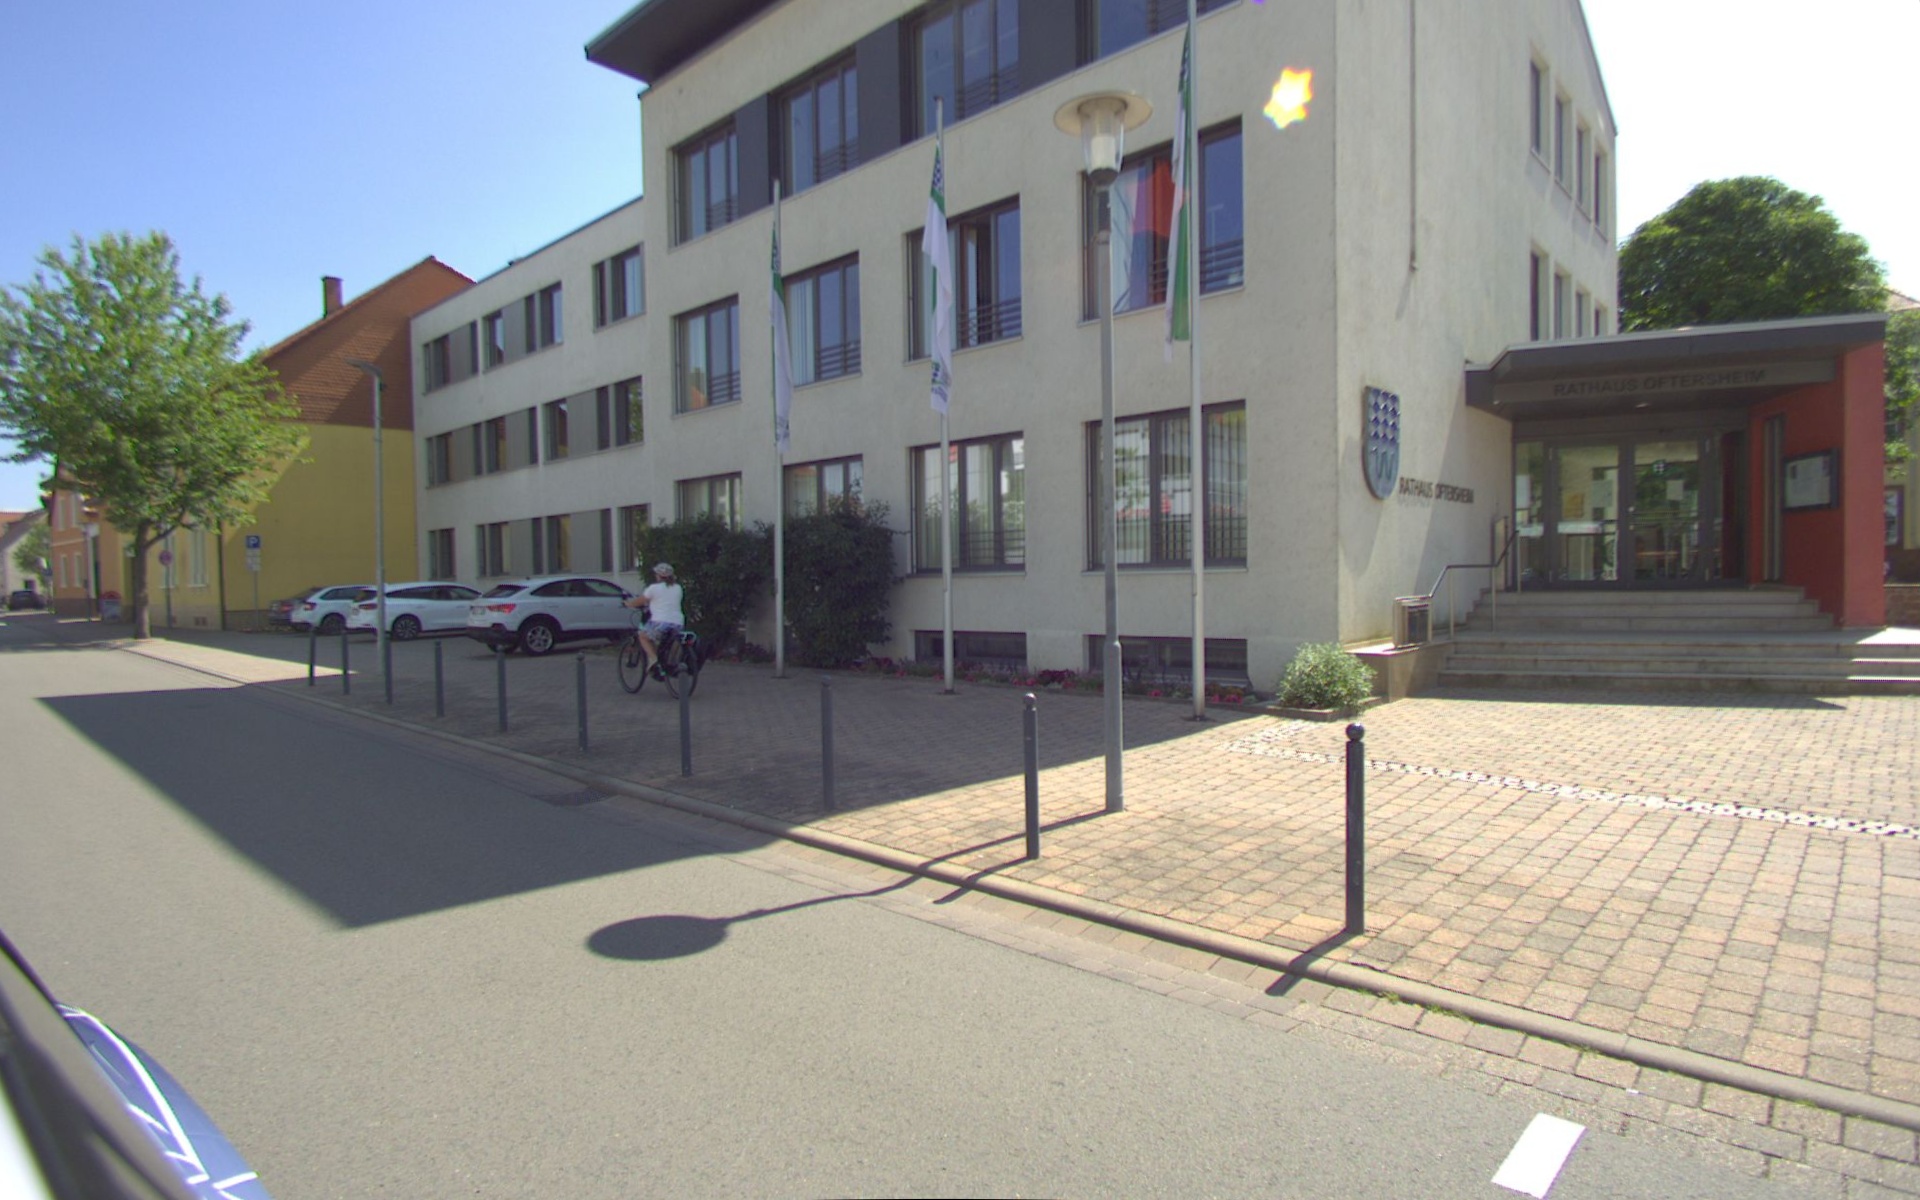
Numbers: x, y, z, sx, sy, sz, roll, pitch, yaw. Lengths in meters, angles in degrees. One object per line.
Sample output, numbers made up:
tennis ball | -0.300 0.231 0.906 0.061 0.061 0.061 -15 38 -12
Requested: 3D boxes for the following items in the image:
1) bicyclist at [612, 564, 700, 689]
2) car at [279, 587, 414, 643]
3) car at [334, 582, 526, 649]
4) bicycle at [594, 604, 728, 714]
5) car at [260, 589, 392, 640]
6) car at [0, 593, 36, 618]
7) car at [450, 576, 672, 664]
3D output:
bicyclist | -3.870 0.319 12.891 0.870 1.518 0.707 0 0 41
car | -18.279 0.404 30.210 1.643 1.461 3.096 0 2 44
car | -14.084 0.346 27.091 1.514 1.489 4.266 0 3 43
bicycle | -3.846 0.699 12.920 1.973 1.261 0.701 0 3 44
car | -19.847 0.422 31.770 1.374 1.412 3.215 0 2 42
car | -72.787 0.415 78.138 4.000 1.829 1.801 0 1 43
car | -8.266 0.349 21.209 1.748 1.559 3.945 0 2 42
